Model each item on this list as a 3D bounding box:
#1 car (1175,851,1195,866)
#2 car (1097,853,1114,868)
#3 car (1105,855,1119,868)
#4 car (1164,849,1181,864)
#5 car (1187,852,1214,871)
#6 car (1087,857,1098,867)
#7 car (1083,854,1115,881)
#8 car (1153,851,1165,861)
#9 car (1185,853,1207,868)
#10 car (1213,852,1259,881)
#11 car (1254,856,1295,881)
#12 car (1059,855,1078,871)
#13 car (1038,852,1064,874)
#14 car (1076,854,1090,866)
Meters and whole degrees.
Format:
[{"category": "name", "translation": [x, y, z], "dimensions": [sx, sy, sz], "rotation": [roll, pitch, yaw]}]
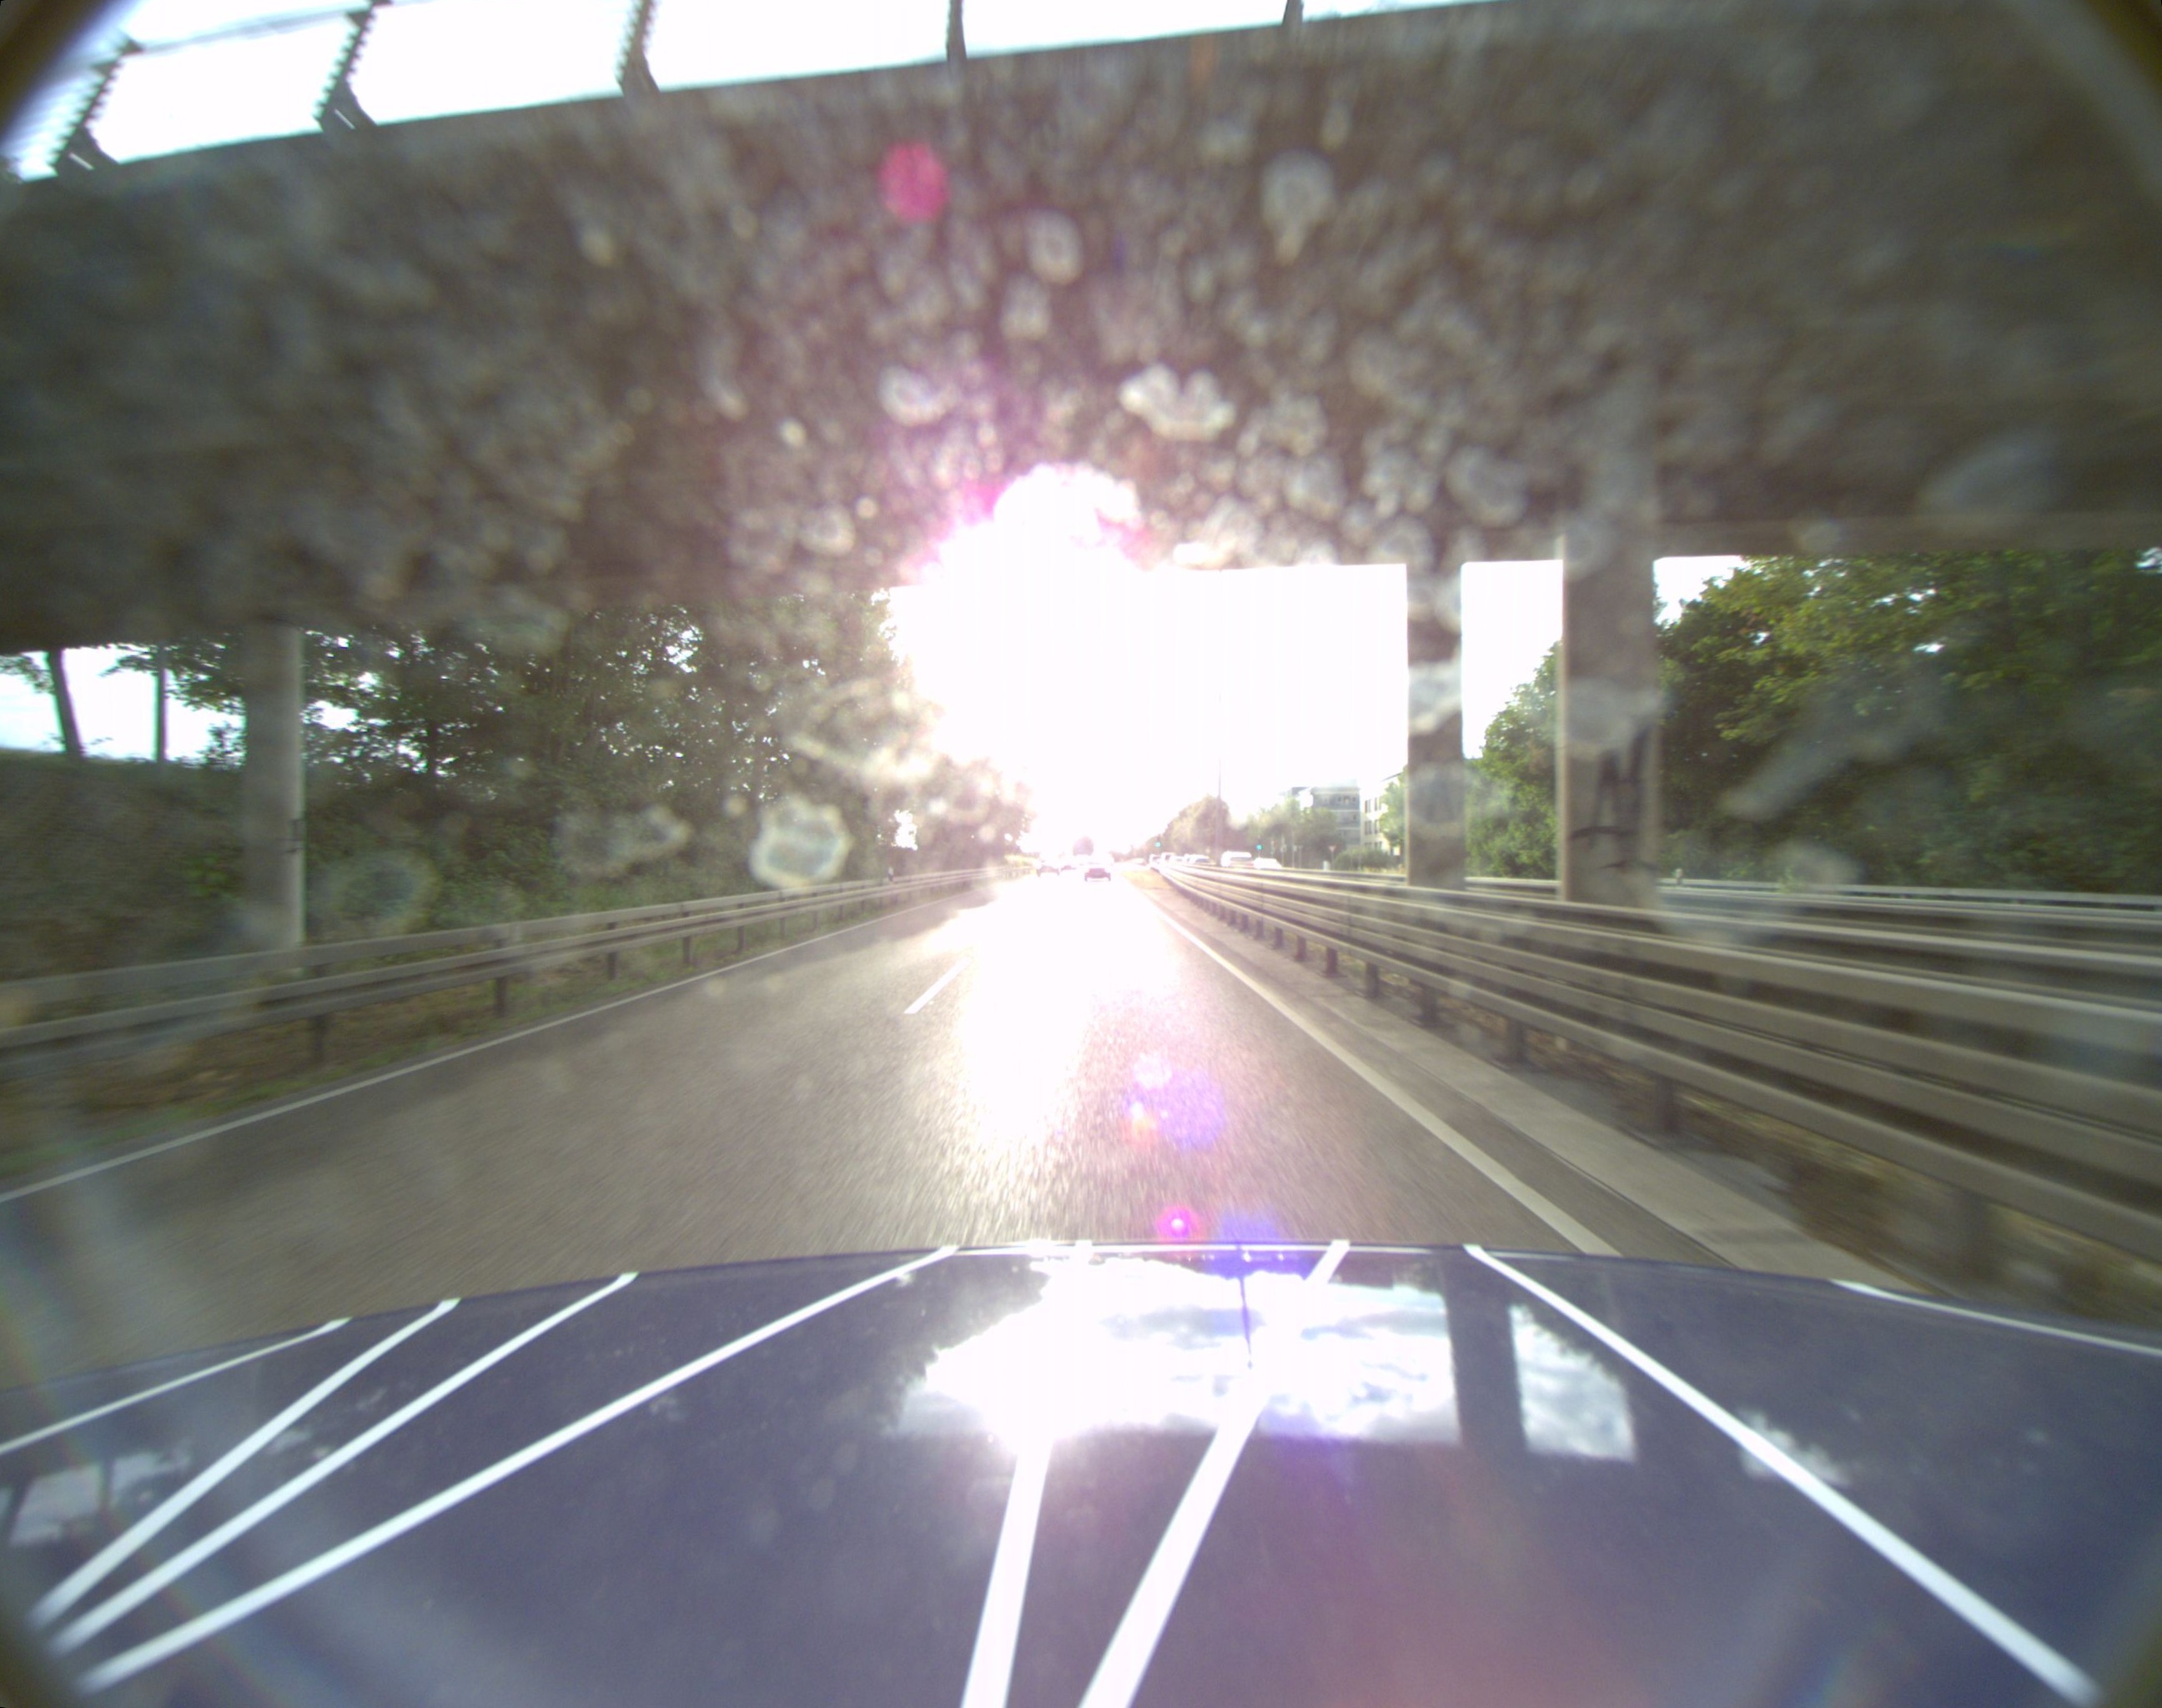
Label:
[{"category": "car", "translation": [11.399, 0.452, 83.325], "dimensions": [1.716, 1.580, 4.554], "rotation": [-1, 0, 2]}, {"category": "car", "translation": [2.737, 0.720, 84.773], "dimensions": [1.723, 1.493, 4.420], "rotation": [-2, 0, 3]}, {"category": "car", "translation": [4.184, 0.986, 101.333], "dimensions": [1.786, 1.624, 3.866], "rotation": [-2, 0, 3]}, {"category": "car", "translation": [12.215, 0.361, 101.390], "dimensions": [1.903, 1.906, 5.051], "rotation": [-1, 0, 3]}, {"category": "car", "translation": [9.747, 0.562, 62.079], "dimensions": [1.722, 1.458, 3.734], "rotation": [-1, 0, 2]}, {"category": "car", "translation": [2.212, 1.475, 147.395], "dimensions": [1.998, 1.740, 4.000], "rotation": [3, 1, 3]}, {"category": "car", "translation": [1.123, 0.756, 45.204], "dimensions": [1.723, 1.467, 3.729], "rotation": [-1, 0, 4]}, {"category": "car", "translation": [14.534, 0.315, 141.460], "dimensions": [1.939, 1.861, 5.347], "rotation": [-1, 0, 2]}, {"category": "car", "translation": [10.772, 0.626, 71.407], "dimensions": [1.560, 1.352, 3.463], "rotation": [-2, -1, 2]}, {"category": "car", "translation": [9.032, 0.677, 44.551], "dimensions": [1.827, 1.575, 4.791], "rotation": [-1, 0, 2]}, {"category": "car", "translation": [13.074, 0.931, 51.643], "dimensions": [1.839, 1.527, 4.397], "rotation": [1, 1, 3]}, {"category": "car", "translation": [-1.254, 0.917, 78.357], "dimensions": [1.668, 1.467, 3.867], "rotation": [-2, 0, 4]}, {"category": "car", "translation": [-2.398, 0.727, 61.363], "dimensions": [1.723, 1.658, 4.420], "rotation": [-2, 0, 2]}, {"category": "car", "translation": [0.298, 0.898, 115.974], "dimensions": [1.948, 1.652, 4.001], "rotation": [-2, 0, 2]}]
